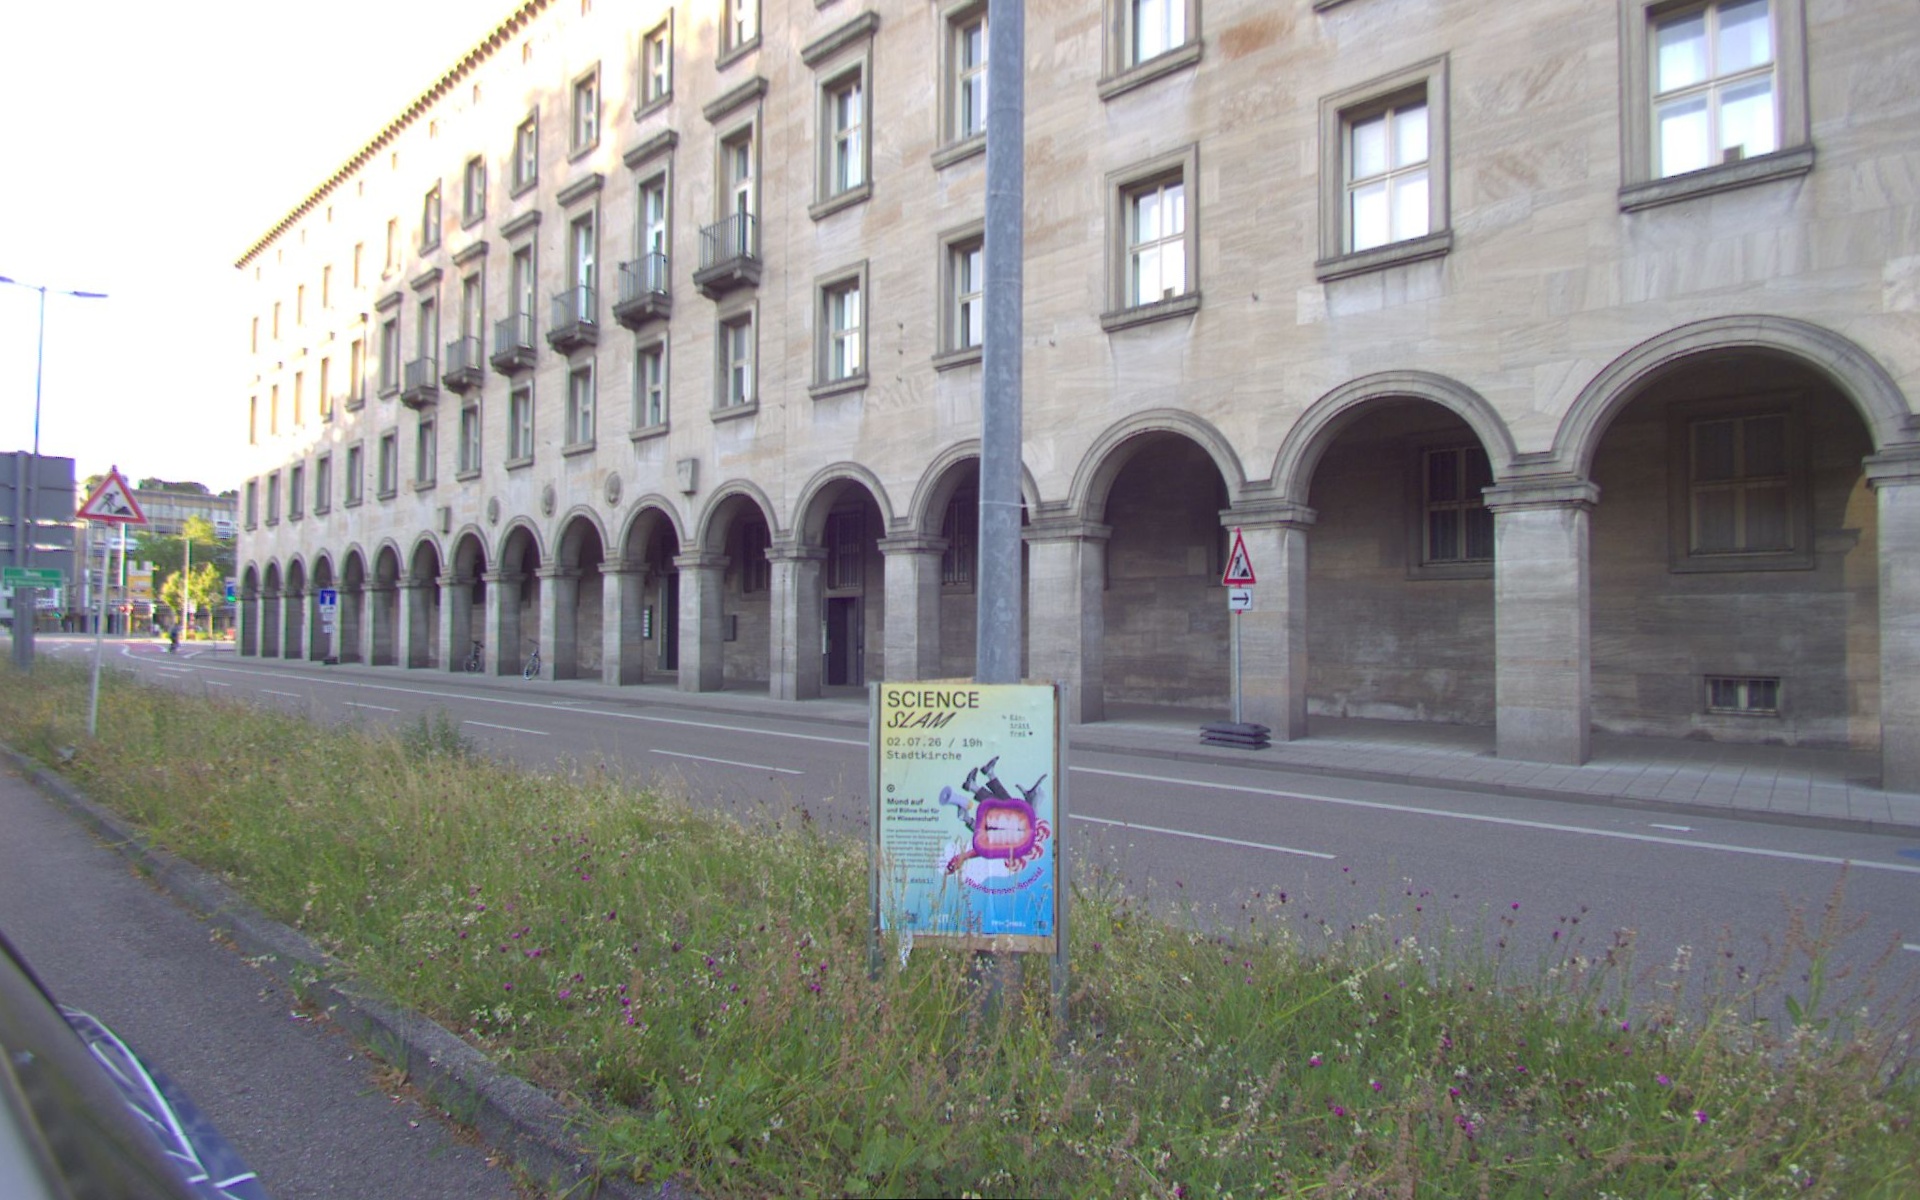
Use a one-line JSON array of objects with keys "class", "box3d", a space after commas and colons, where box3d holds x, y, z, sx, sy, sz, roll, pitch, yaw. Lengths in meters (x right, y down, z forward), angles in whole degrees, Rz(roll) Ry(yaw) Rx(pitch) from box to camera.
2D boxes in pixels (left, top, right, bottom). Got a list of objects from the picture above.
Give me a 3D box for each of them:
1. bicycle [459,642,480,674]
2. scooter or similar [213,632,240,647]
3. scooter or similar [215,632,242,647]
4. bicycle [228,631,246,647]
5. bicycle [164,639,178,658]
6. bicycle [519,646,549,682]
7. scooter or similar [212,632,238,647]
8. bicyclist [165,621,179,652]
[{"class": "bicycle", "box3d": [-16.266, 1.919, 33.542, 0.470, 1.013, 2.011, 1, -2, -30]}, {"class": "scooter or similar", "box3d": [-64.223, 3.436, 88.632, 0.422, 1.315, 1.814, -1, -2, 35]}, {"class": "scooter or similar", "box3d": [-63.868, 3.423, 88.368, 0.422, 1.315, 1.819, -1, -2, 35]}, {"class": "bicycle", "box3d": [-62.257, 3.355, 87.176, 2.507, 1.334, 0.611, -1, -3, 40]}, {"class": "bicycle", "box3d": [-43.131, 2.654, 55.324, 0.534, 1.013, 2.009, 2, -3, -36]}, {"class": "bicycle", "box3d": [-12.626, 1.892, 30.050, 0.471, 1.013, 2.010, 1, -2, -13]}, {"class": "scooter or similar", "box3d": [-64.606, 3.449, 88.928, 0.416, 1.315, 1.772, -1, -2, 35]}, {"class": "bicyclist", "box3d": [-43.213, 1.996, 55.475, 0.529, 1.706, 0.750, 2, -3, -36]}]
